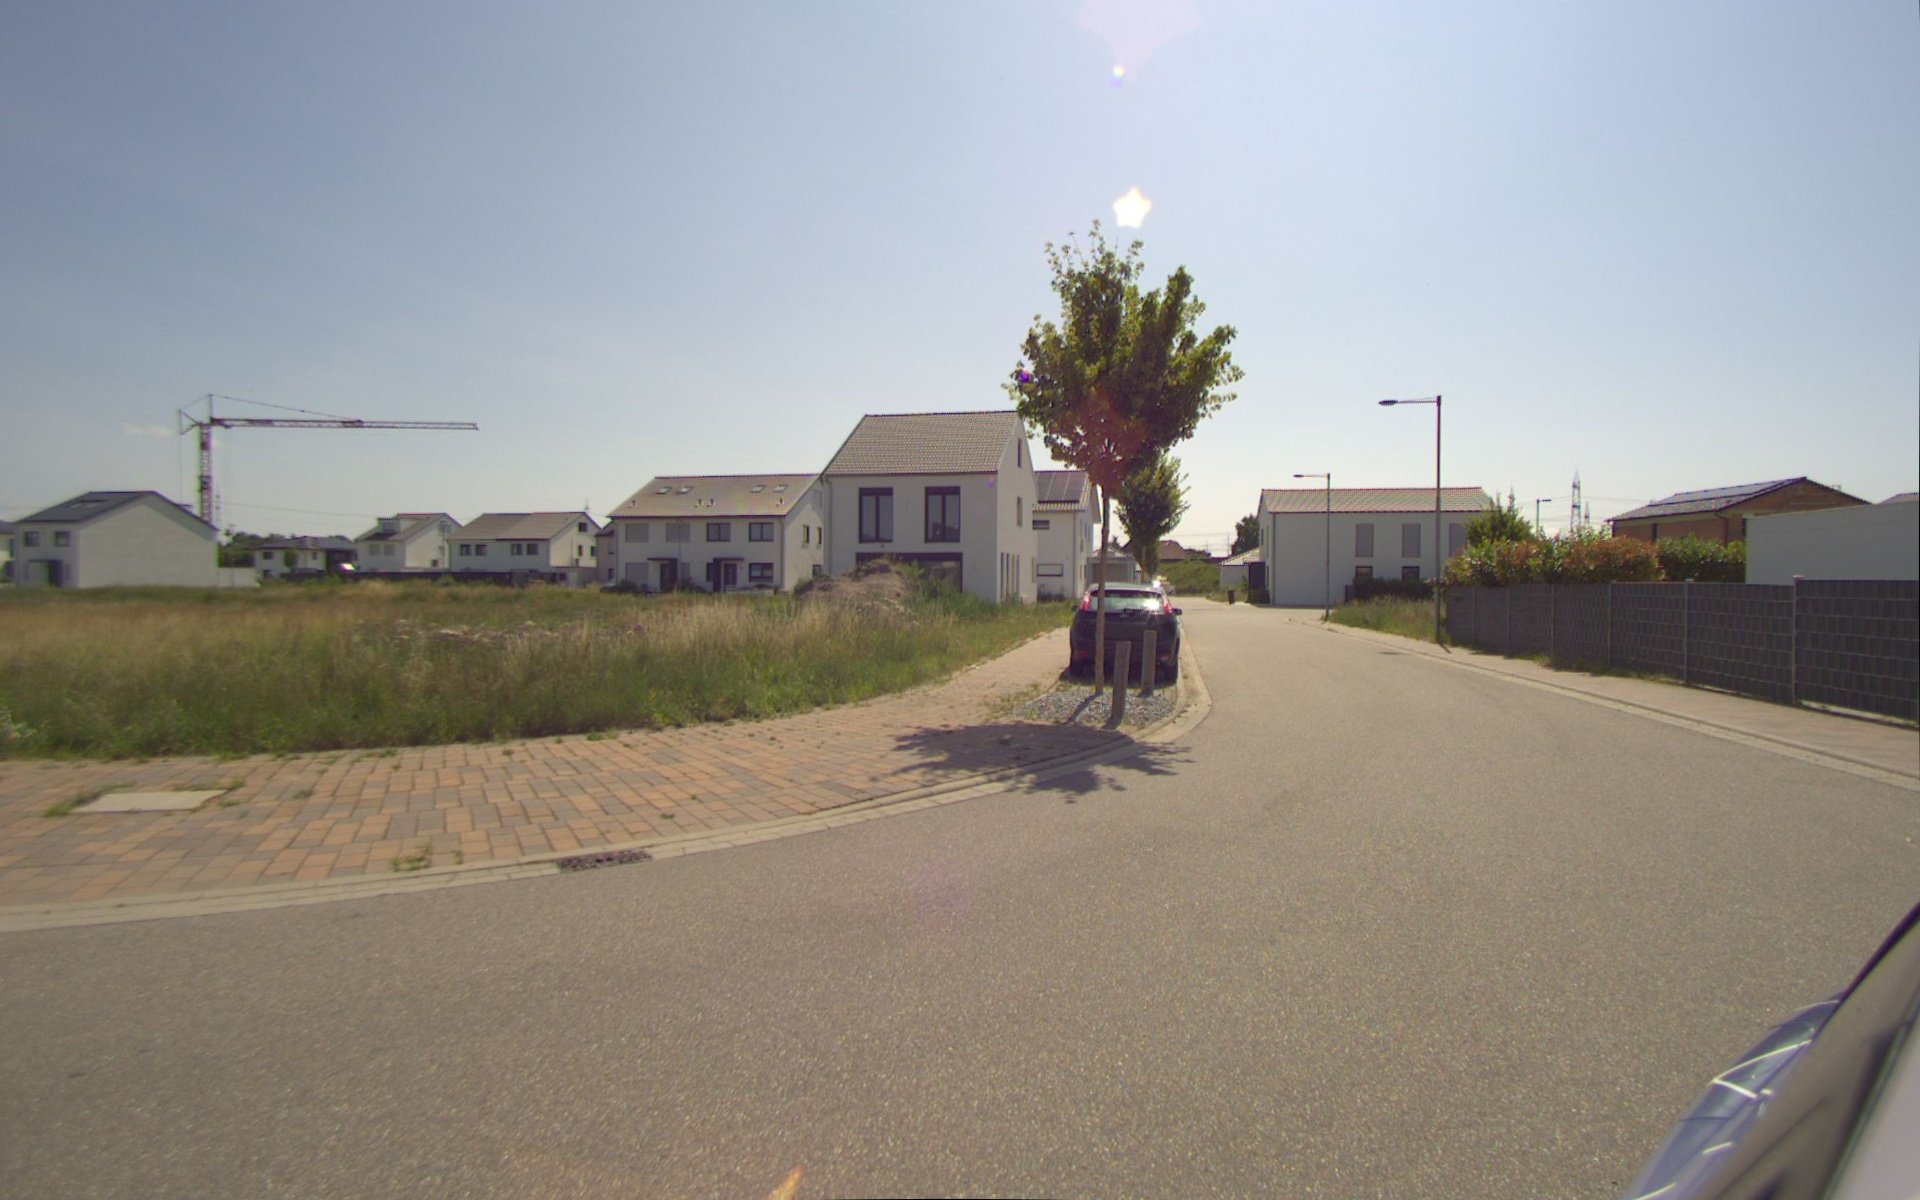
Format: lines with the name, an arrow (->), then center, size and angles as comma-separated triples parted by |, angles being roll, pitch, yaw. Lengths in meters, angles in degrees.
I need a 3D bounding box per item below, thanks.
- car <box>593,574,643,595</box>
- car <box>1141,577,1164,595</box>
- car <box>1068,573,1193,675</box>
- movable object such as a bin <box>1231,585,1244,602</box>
car -> -26.872, -1.212, 79.600 | 1.790, 1.593, 3.979 | 0, 1, 17
car -> 16.471, -1.225, 86.459 | 1.896, 1.438, 4.405 | 1, 1, 12
car -> 2.766, 0.339, 17.189 | 1.817, 1.512, 4.187 | -1, 0, 6
movable object such as a bin -> 18.870, -0.441, 68.812 | 0.796, 1.112, 0.669 | 0, 1, 14
